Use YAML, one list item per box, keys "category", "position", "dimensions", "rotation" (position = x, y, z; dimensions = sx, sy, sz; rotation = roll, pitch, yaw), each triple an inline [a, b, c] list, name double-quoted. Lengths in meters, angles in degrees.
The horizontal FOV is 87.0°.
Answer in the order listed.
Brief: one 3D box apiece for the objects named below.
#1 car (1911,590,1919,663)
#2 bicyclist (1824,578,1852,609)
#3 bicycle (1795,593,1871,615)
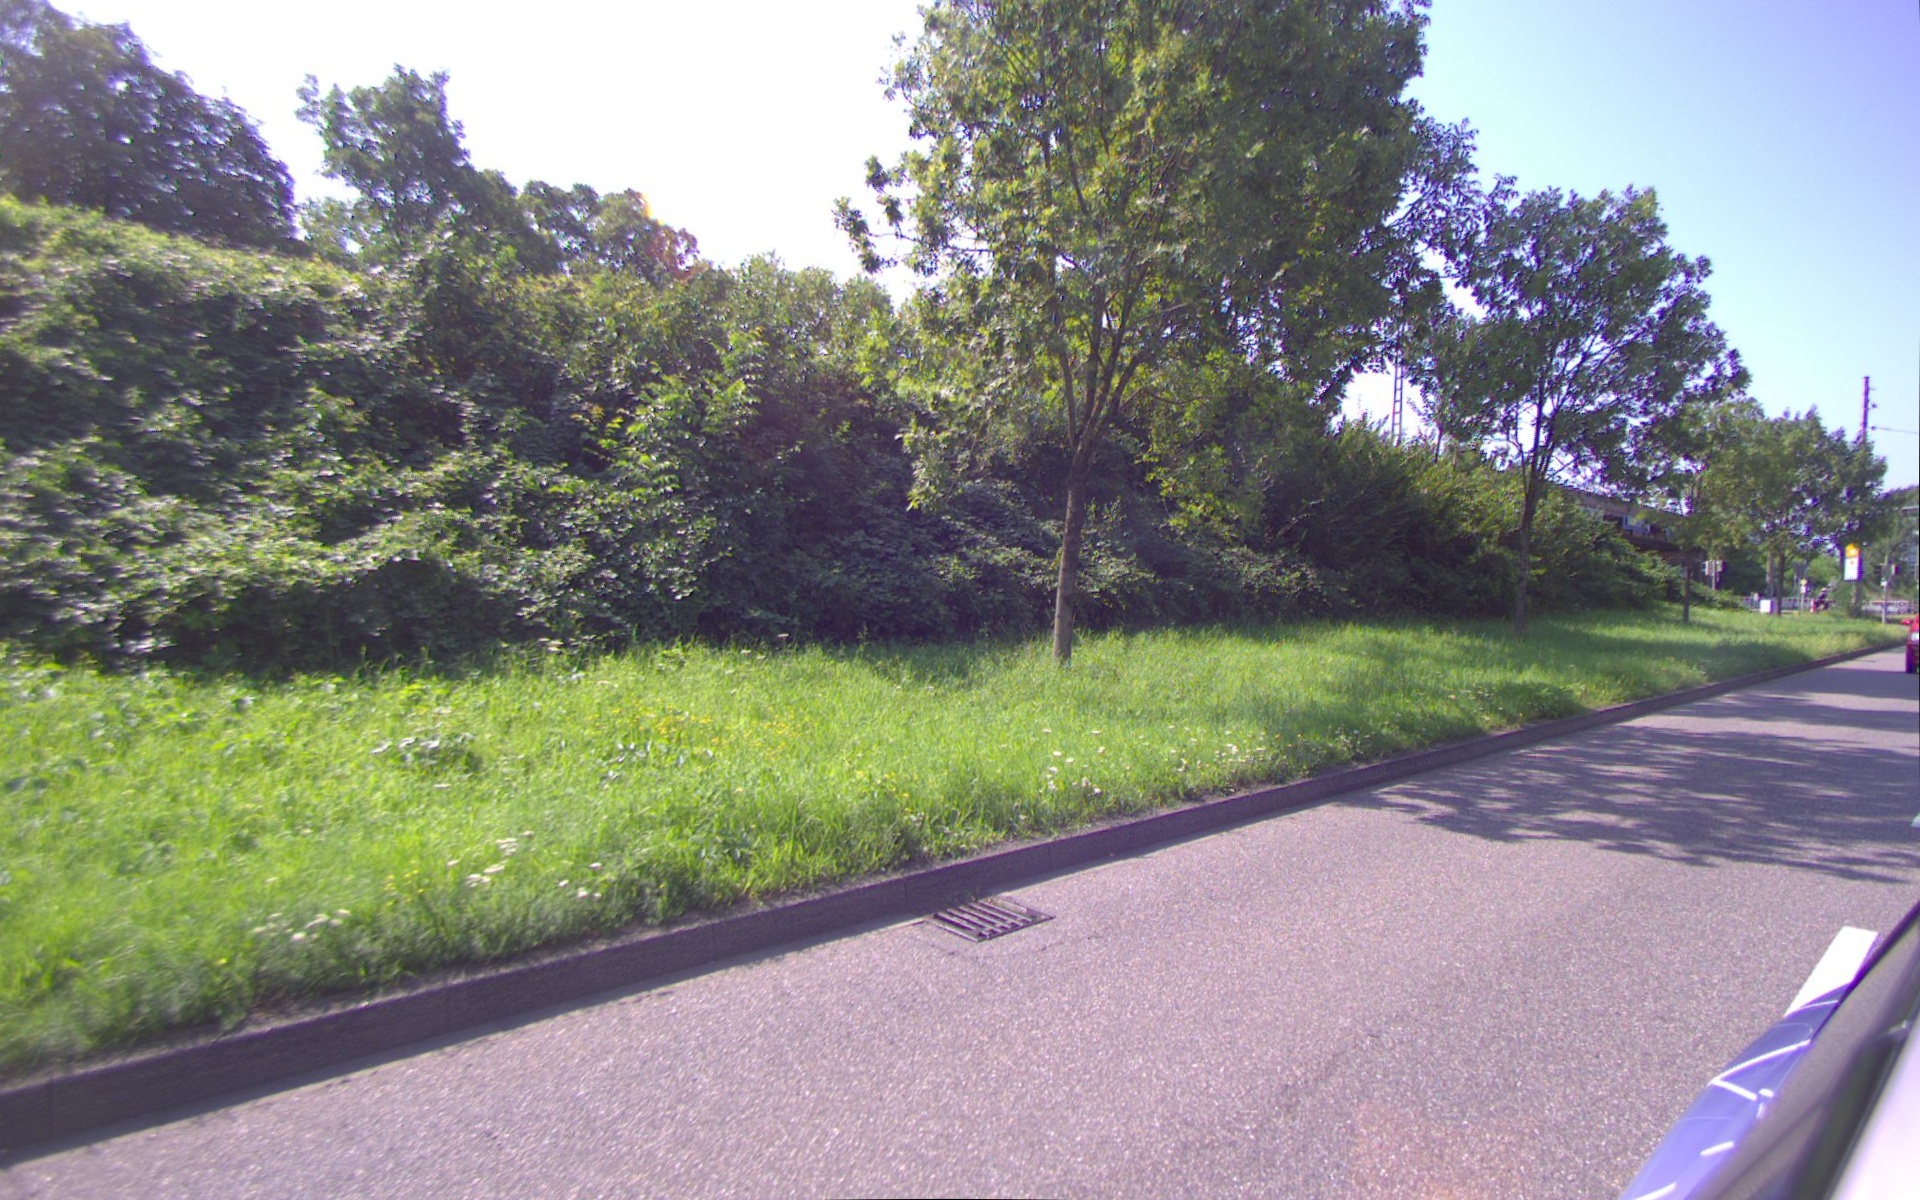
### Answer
- category: "car"
  position: [20.429, 0.549, 20.386]
  dimensions: [1.636, 1.486, 3.502]
  rotation: [1, 0, 40]
- category: "bicyclist"
  position: [49.000, -0.360, 56.499]
  dimensions: [0.959, 1.679, 0.707]
  rotation: [2, 1, 22]
- category: "bicycle"
  position: [48.790, 0.207, 56.628]
  dimensions: [2.943, 1.062, 1.226]
  rotation: [2, 1, 22]
